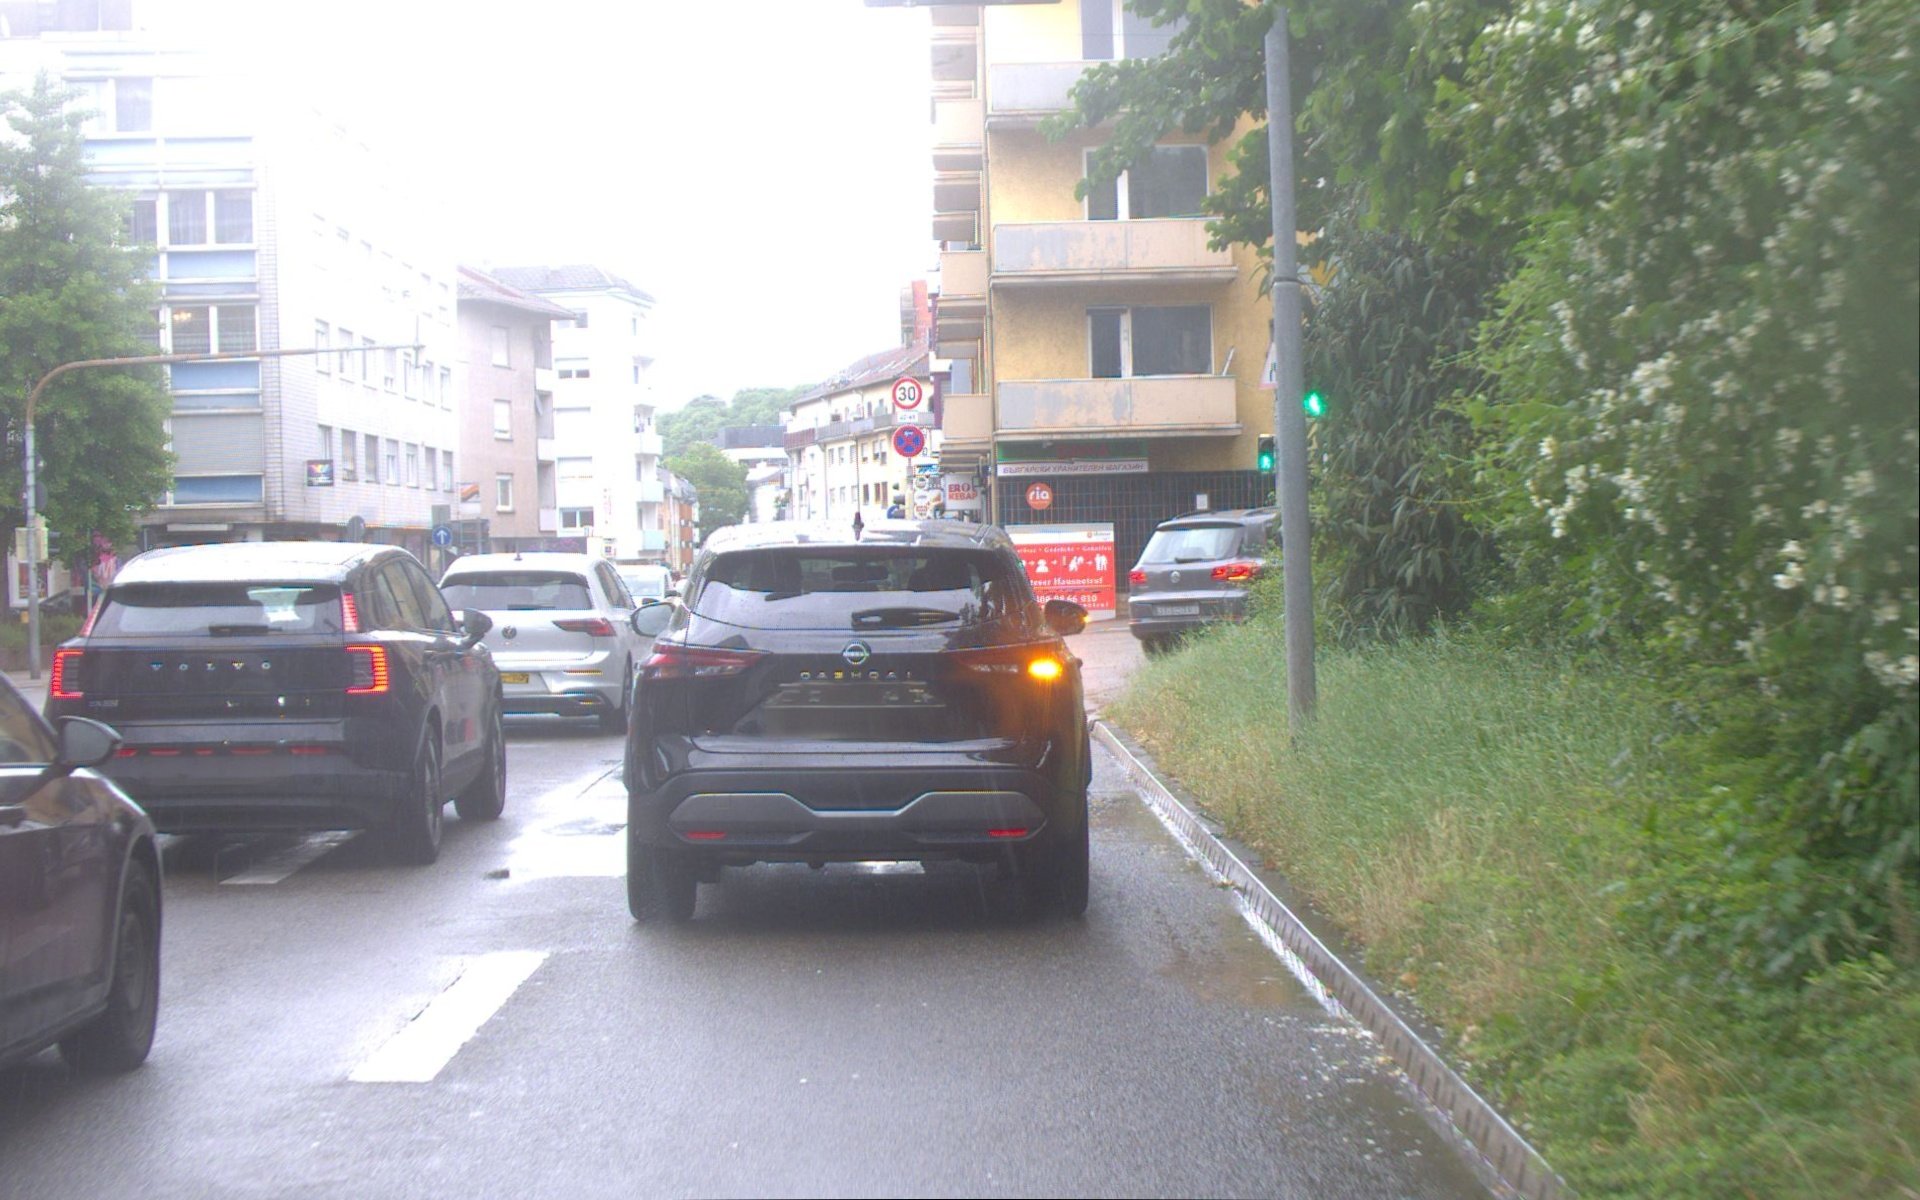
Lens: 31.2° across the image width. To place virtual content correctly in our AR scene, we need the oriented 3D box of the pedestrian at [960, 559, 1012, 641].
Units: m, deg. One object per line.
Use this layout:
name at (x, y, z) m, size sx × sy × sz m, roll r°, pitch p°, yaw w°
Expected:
pedestrian at (0.524, -0.007, 69.635) m, size 0.835 × 1.553 × 0.833 m, roll -7°, pitch 1°, yaw -2°

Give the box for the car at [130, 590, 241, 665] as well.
car at (-16.753, 0.576, 74.513) m, size 1.672 × 1.473 × 3.608 m, roll -3°, pitch 1°, yaw -3°

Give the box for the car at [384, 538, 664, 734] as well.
car at (-3.493, 0.238, 28.186) m, size 1.767 × 1.439 × 4.000 m, roll -2°, pitch 1°, yaw 0°

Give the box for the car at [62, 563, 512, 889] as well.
car at (-3.282, 0.543, 17.440) m, size 1.613 × 1.416 × 3.967 m, roll -1°, pitch 1°, yaw -2°

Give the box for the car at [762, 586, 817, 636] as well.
car at (-7.319, 0.457, 147.962) m, size 1.993 × 2.007 × 4.000 m, roll -3°, pitch 1°, yaw 1°

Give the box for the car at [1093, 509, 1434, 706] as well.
car at (3.385, 0.049, 37.709) m, size 1.997 × 2.007 × 3.992 m, roll -1°, pitch 1°, yaw 34°

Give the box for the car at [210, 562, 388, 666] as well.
car at (-11.095, 0.208, 57.962) m, size 1.994 × 1.489 × 4.088 m, roll -5°, pitch 1°, yaw 2°

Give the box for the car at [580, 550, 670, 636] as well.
car at (-7.565, -0.169, 77.929) m, size 1.779 × 1.809 × 4.407 m, roll -3°, pitch 1°, yaw -3°

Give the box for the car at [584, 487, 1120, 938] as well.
car at (-0.470, 0.380, 14.586) m, size 1.959 × 1.647 × 4.000 m, roll 0°, pitch 1°, yaw -2°

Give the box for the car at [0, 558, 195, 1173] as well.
car at (-3.182, 0.657, 8.408) m, size 1.755 × 1.448 × 4.000 m, roll -2°, pitch 1°, yaw -1°
